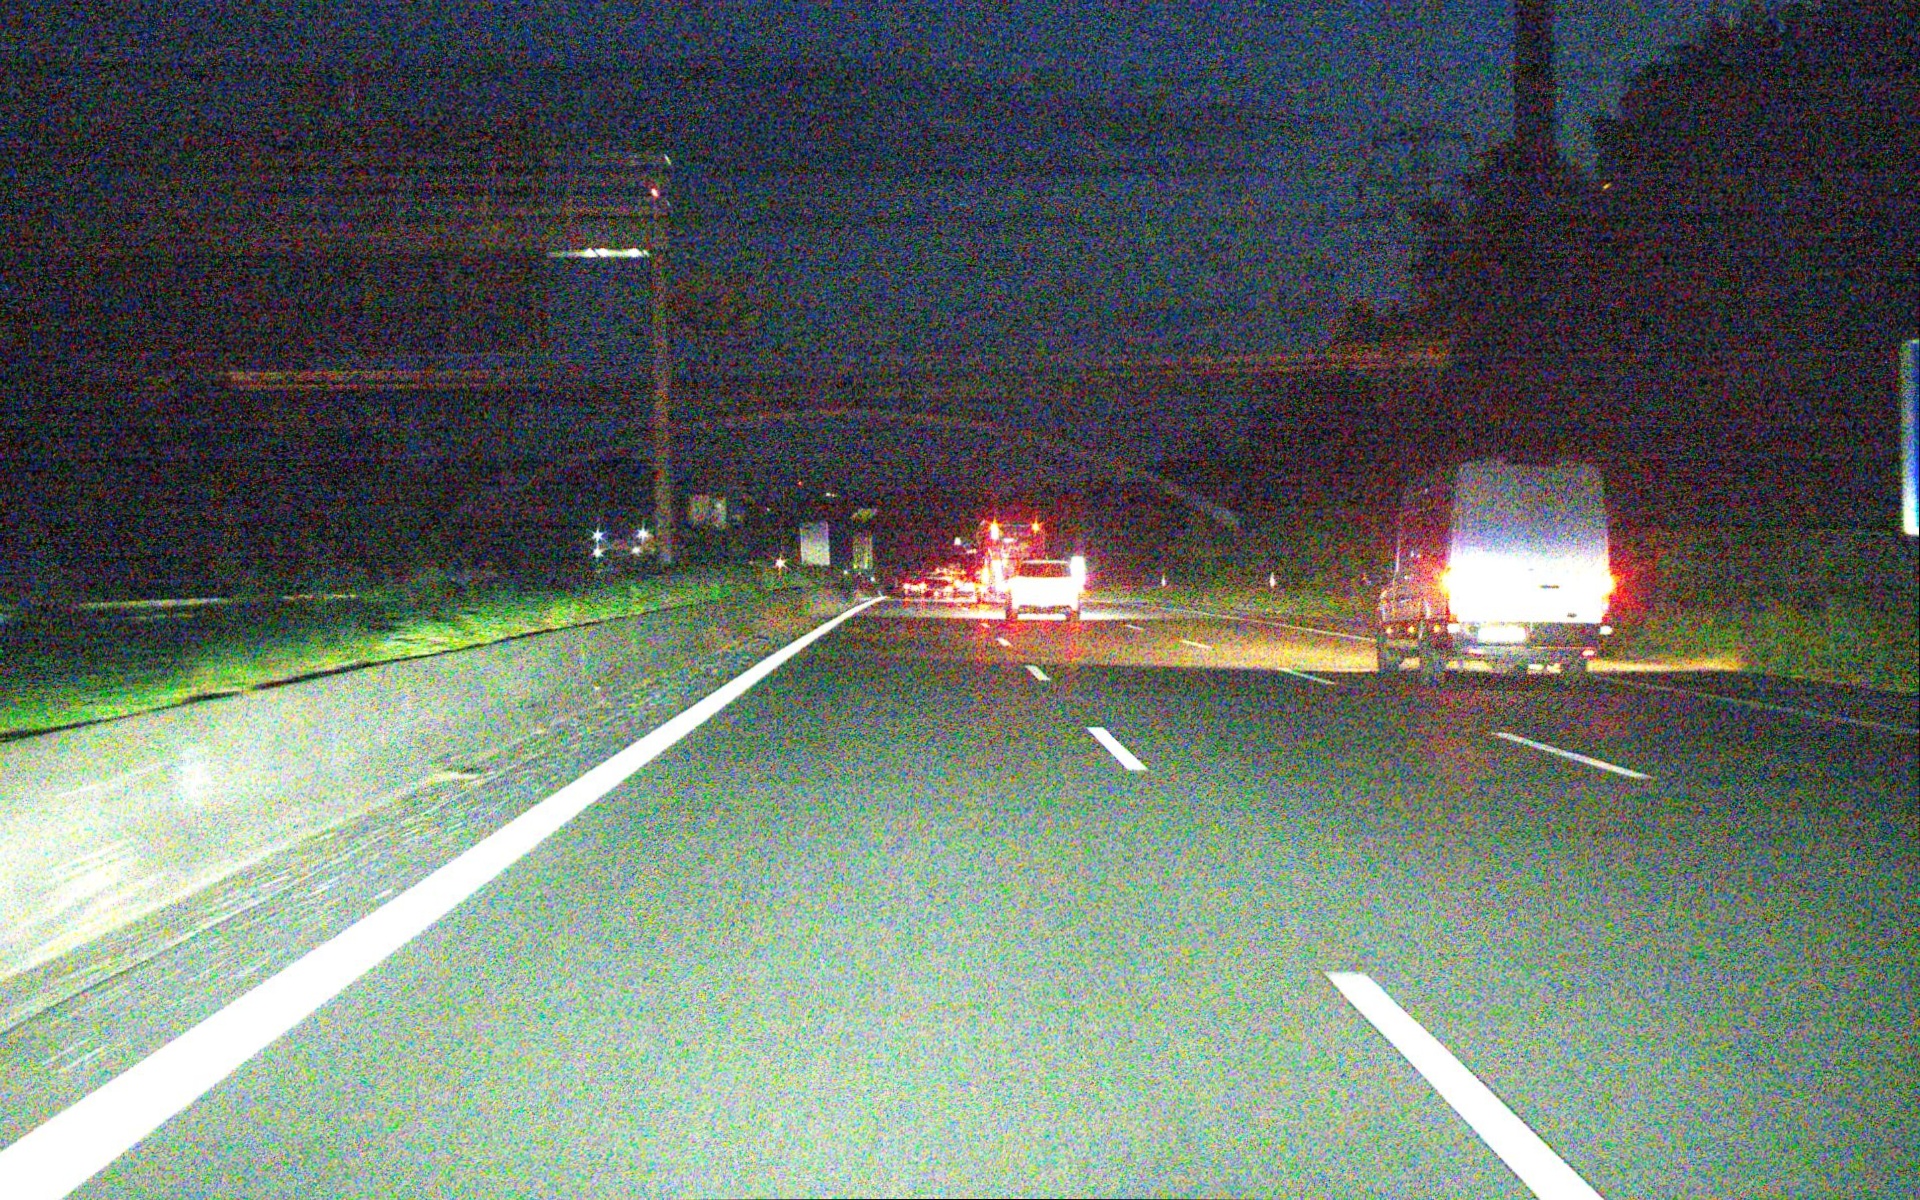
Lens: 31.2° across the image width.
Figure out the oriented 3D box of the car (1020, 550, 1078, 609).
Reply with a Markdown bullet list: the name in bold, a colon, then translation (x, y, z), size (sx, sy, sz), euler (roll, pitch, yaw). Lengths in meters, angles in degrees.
- **car**: translation (2.276, -0.538, 88.431), size (1.346, 1.382, 3.502), euler (1, 2, -1)

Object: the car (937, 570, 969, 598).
- **car**: translation (-0.402, -0.930, 199.682), size (1.821, 1.461, 4.248), euler (1, 2, 0)

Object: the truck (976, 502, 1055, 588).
- **truck**: translation (2.235, -2.320, 142.022), size (3.044, 3.313, 10.143), euler (1, 2, 0)

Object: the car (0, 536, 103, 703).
- **car**: translation (-12.503, 0.213, 43.833), size (1.908, 1.916, 5.458), euler (-2, 2, -2)

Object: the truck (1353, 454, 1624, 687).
- **truck**: translation (6.579, -0.316, 43.754), size (2.076, 2.682, 7.308), euler (1, 0, -2)

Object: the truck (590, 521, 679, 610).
- **truck**: translation (-17.853, -2.024, 189.699), size (3.246, 4.473, 17.440), euler (1, 2, 0)
